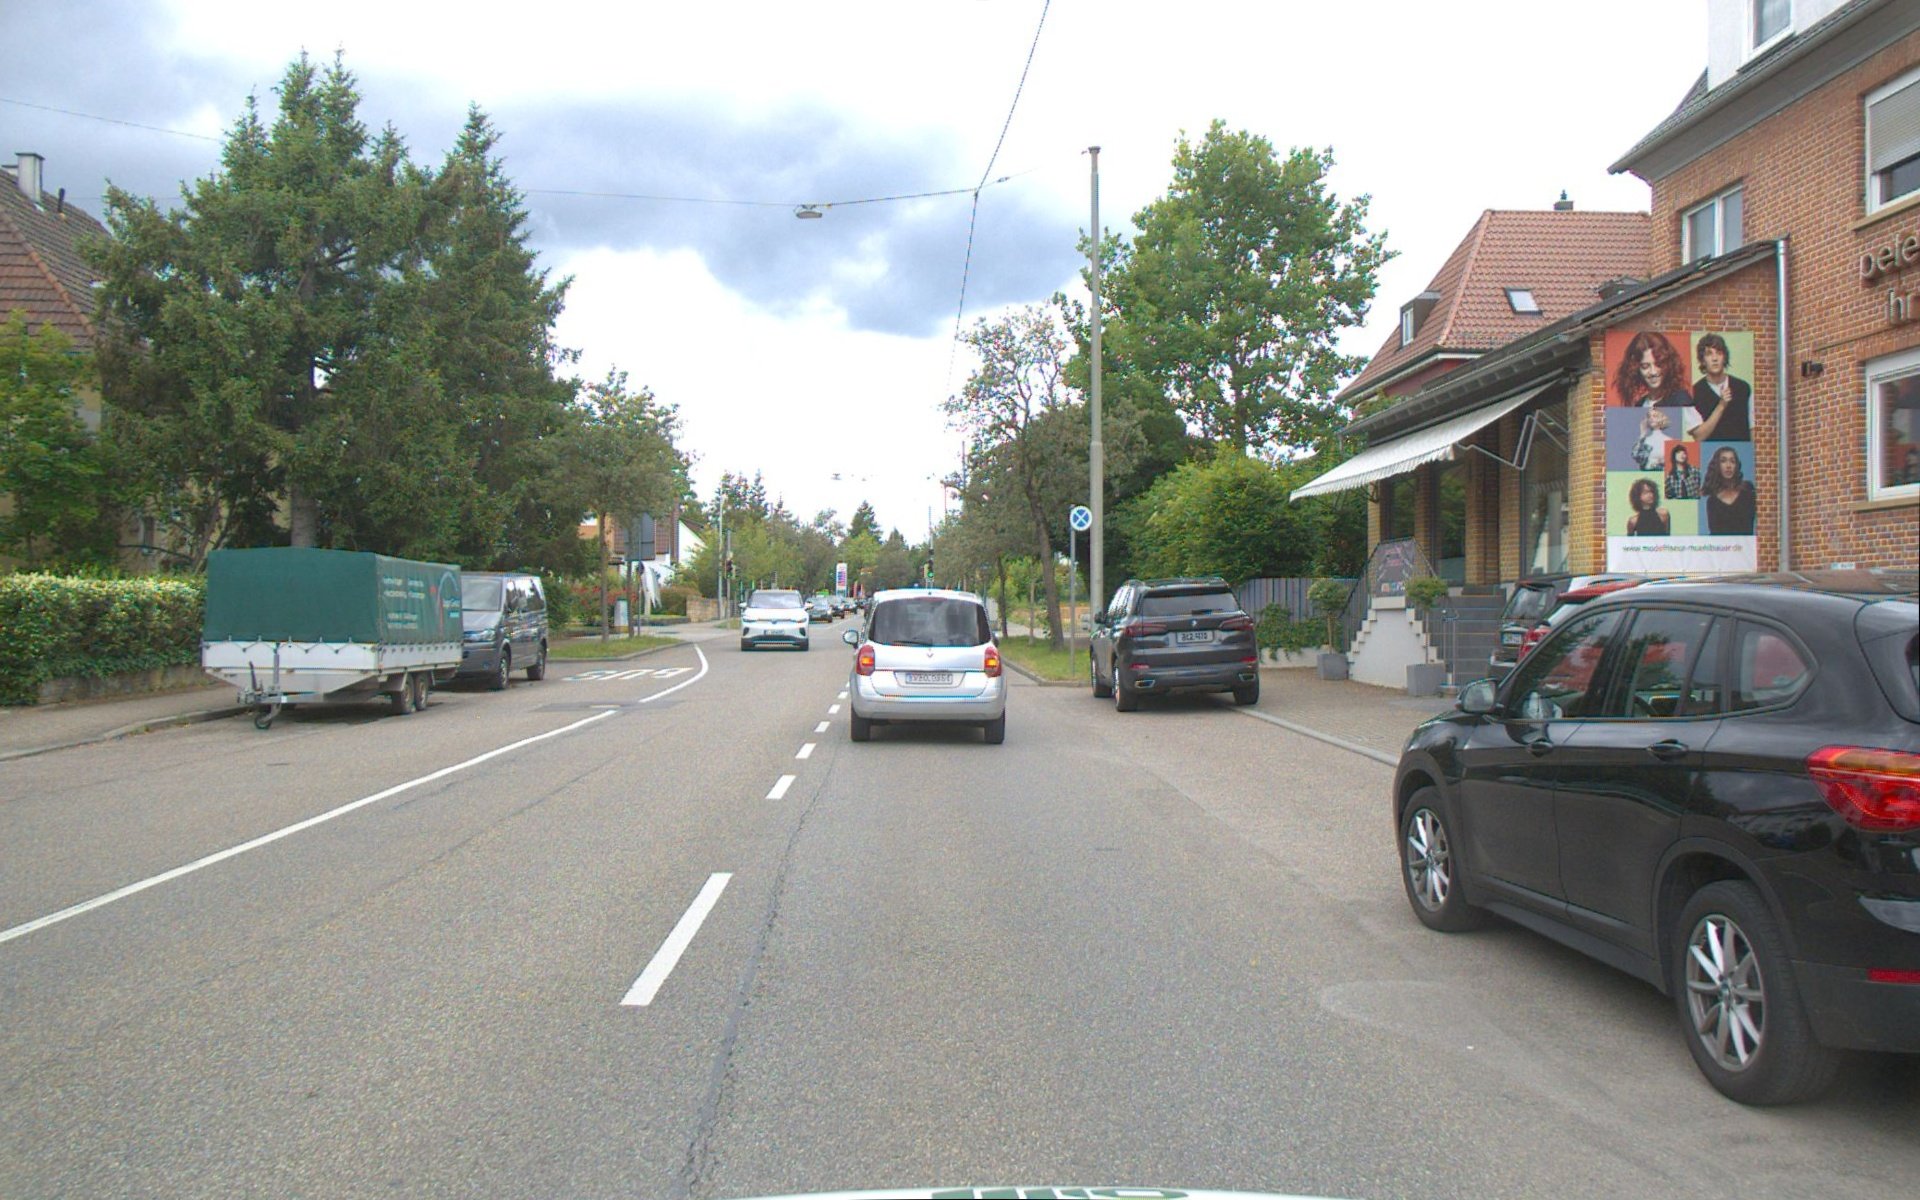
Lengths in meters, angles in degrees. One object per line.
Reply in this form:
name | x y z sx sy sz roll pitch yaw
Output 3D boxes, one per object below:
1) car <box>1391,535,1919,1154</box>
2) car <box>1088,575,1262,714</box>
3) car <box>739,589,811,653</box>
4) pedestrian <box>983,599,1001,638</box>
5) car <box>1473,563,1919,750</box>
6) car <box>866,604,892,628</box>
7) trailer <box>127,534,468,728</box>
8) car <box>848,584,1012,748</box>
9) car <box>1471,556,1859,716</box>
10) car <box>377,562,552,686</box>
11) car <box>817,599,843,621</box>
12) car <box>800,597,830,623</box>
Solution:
car | 3.122 0.629 6.362 1.629 1.592 4.095 0 0 -4
car | 2.941 0.610 23.389 1.776 1.773 3.998 -1 -1 -2
car | -5.061 0.591 45.671 1.869 1.646 3.995 1 -1 -5
pedestrian | 1.375 0.783 71.067 0.691 1.675 0.773 0 0 -2
car | 7.320 0.508 16.254 3.915 1.522 1.806 -3 0 -10
car | -5.966 1.171 121.923 1.792 1.705 3.573 0 0 -1
trailer | -8.341 0.408 21.598 2.266 2.123 5.868 2 -1 -3
car | -0.328 0.696 18.483 1.597 1.584 3.999 2 -1 -1
car | 8.171 0.394 19.303 3.912 1.587 1.500 -3 0 -8
car | -8.603 0.435 29.119 1.850 1.956 4.558 2 -1 -3
car | -9.029 0.675 114.795 1.688 1.436 3.996 2 -1 -5
car | -8.486 0.624 96.903 1.688 1.436 3.996 2 -1 -5
